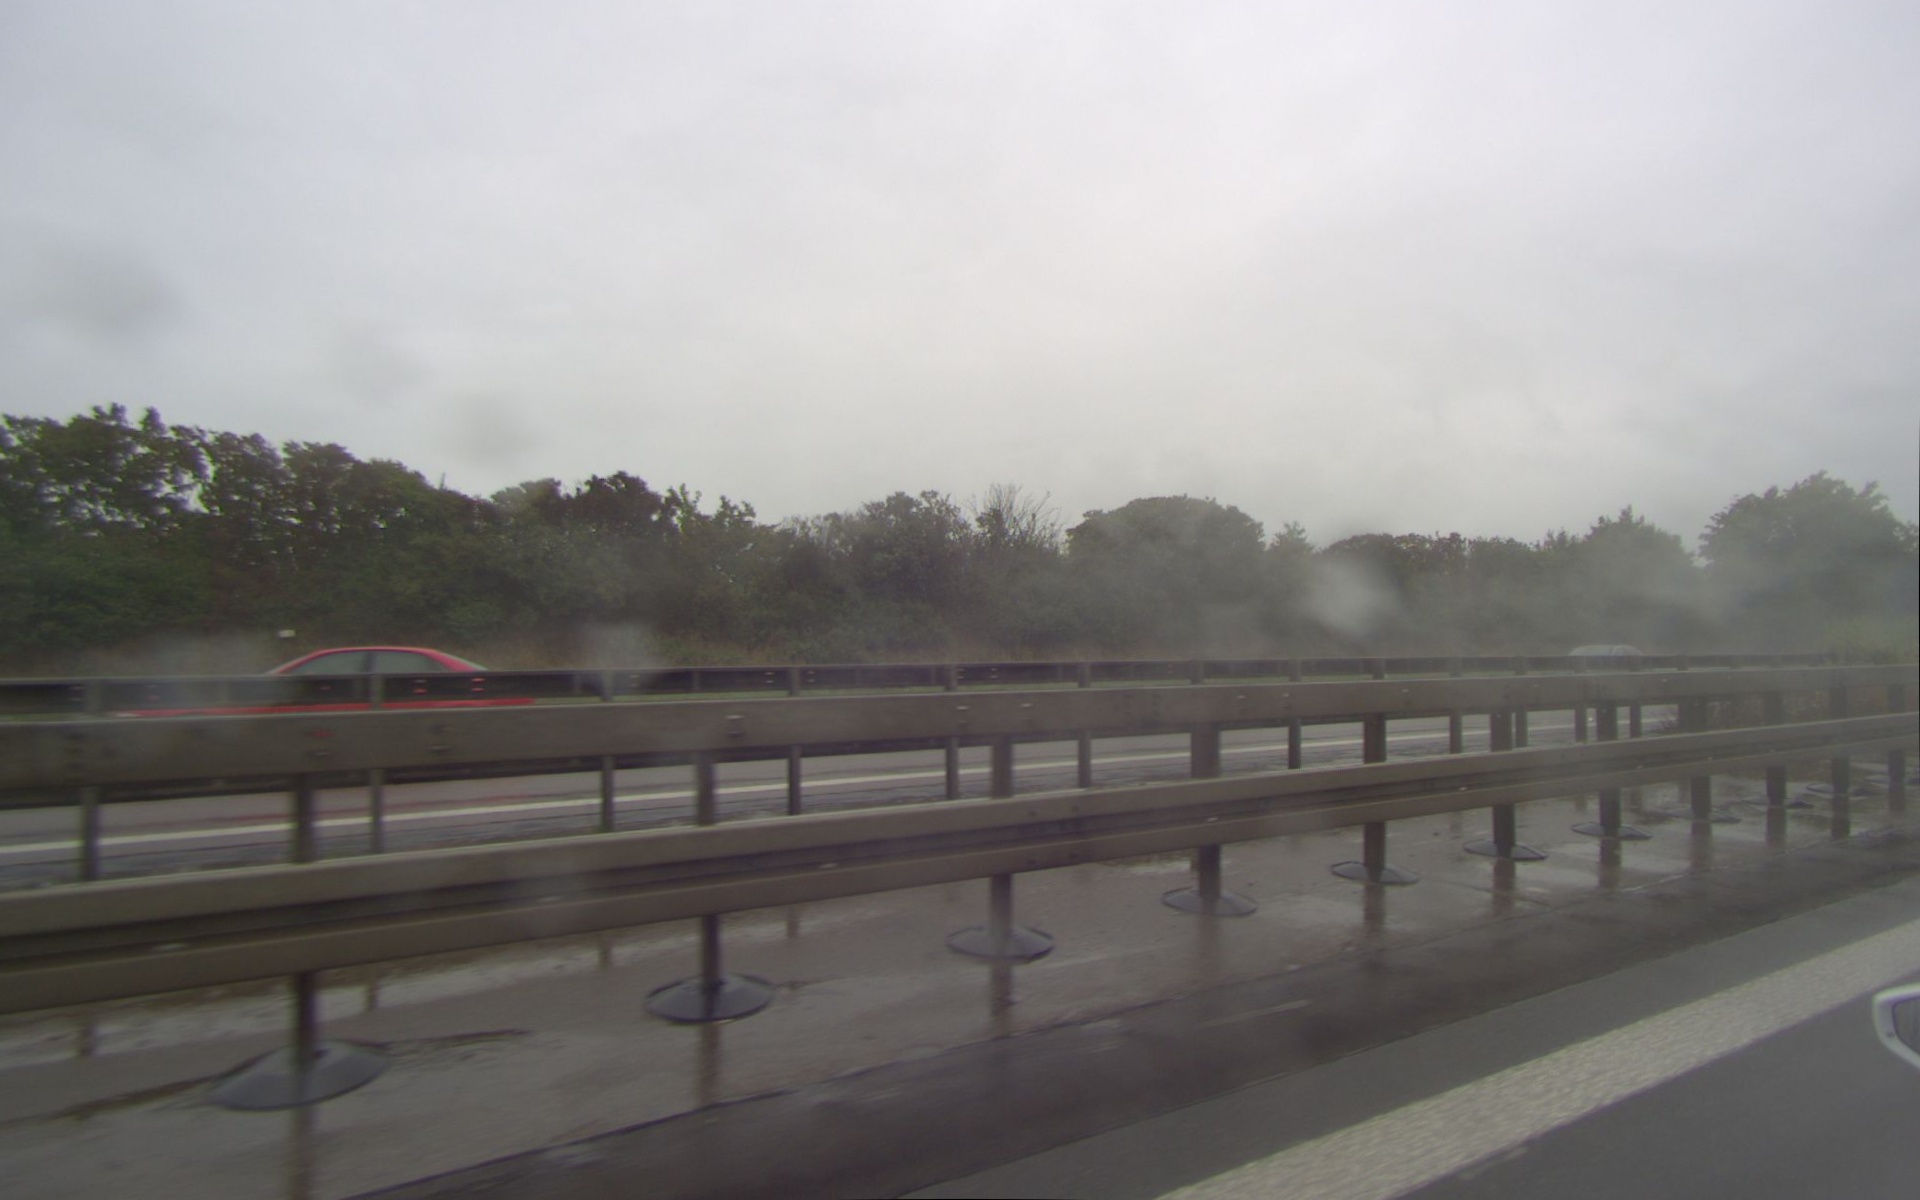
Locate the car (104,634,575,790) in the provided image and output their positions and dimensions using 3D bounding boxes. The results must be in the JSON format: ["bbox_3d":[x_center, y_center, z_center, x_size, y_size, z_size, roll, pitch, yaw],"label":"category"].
[{"bbox_3d":[-7.358,1.226,12.424,4.593,1.532,1.984,1,0,-31],"label":"car"}]

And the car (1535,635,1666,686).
[{"bbox_3d":[21.745,2.011,34.090,4.397,1.532,1.984,1,0,-31],"label":"car"}]
